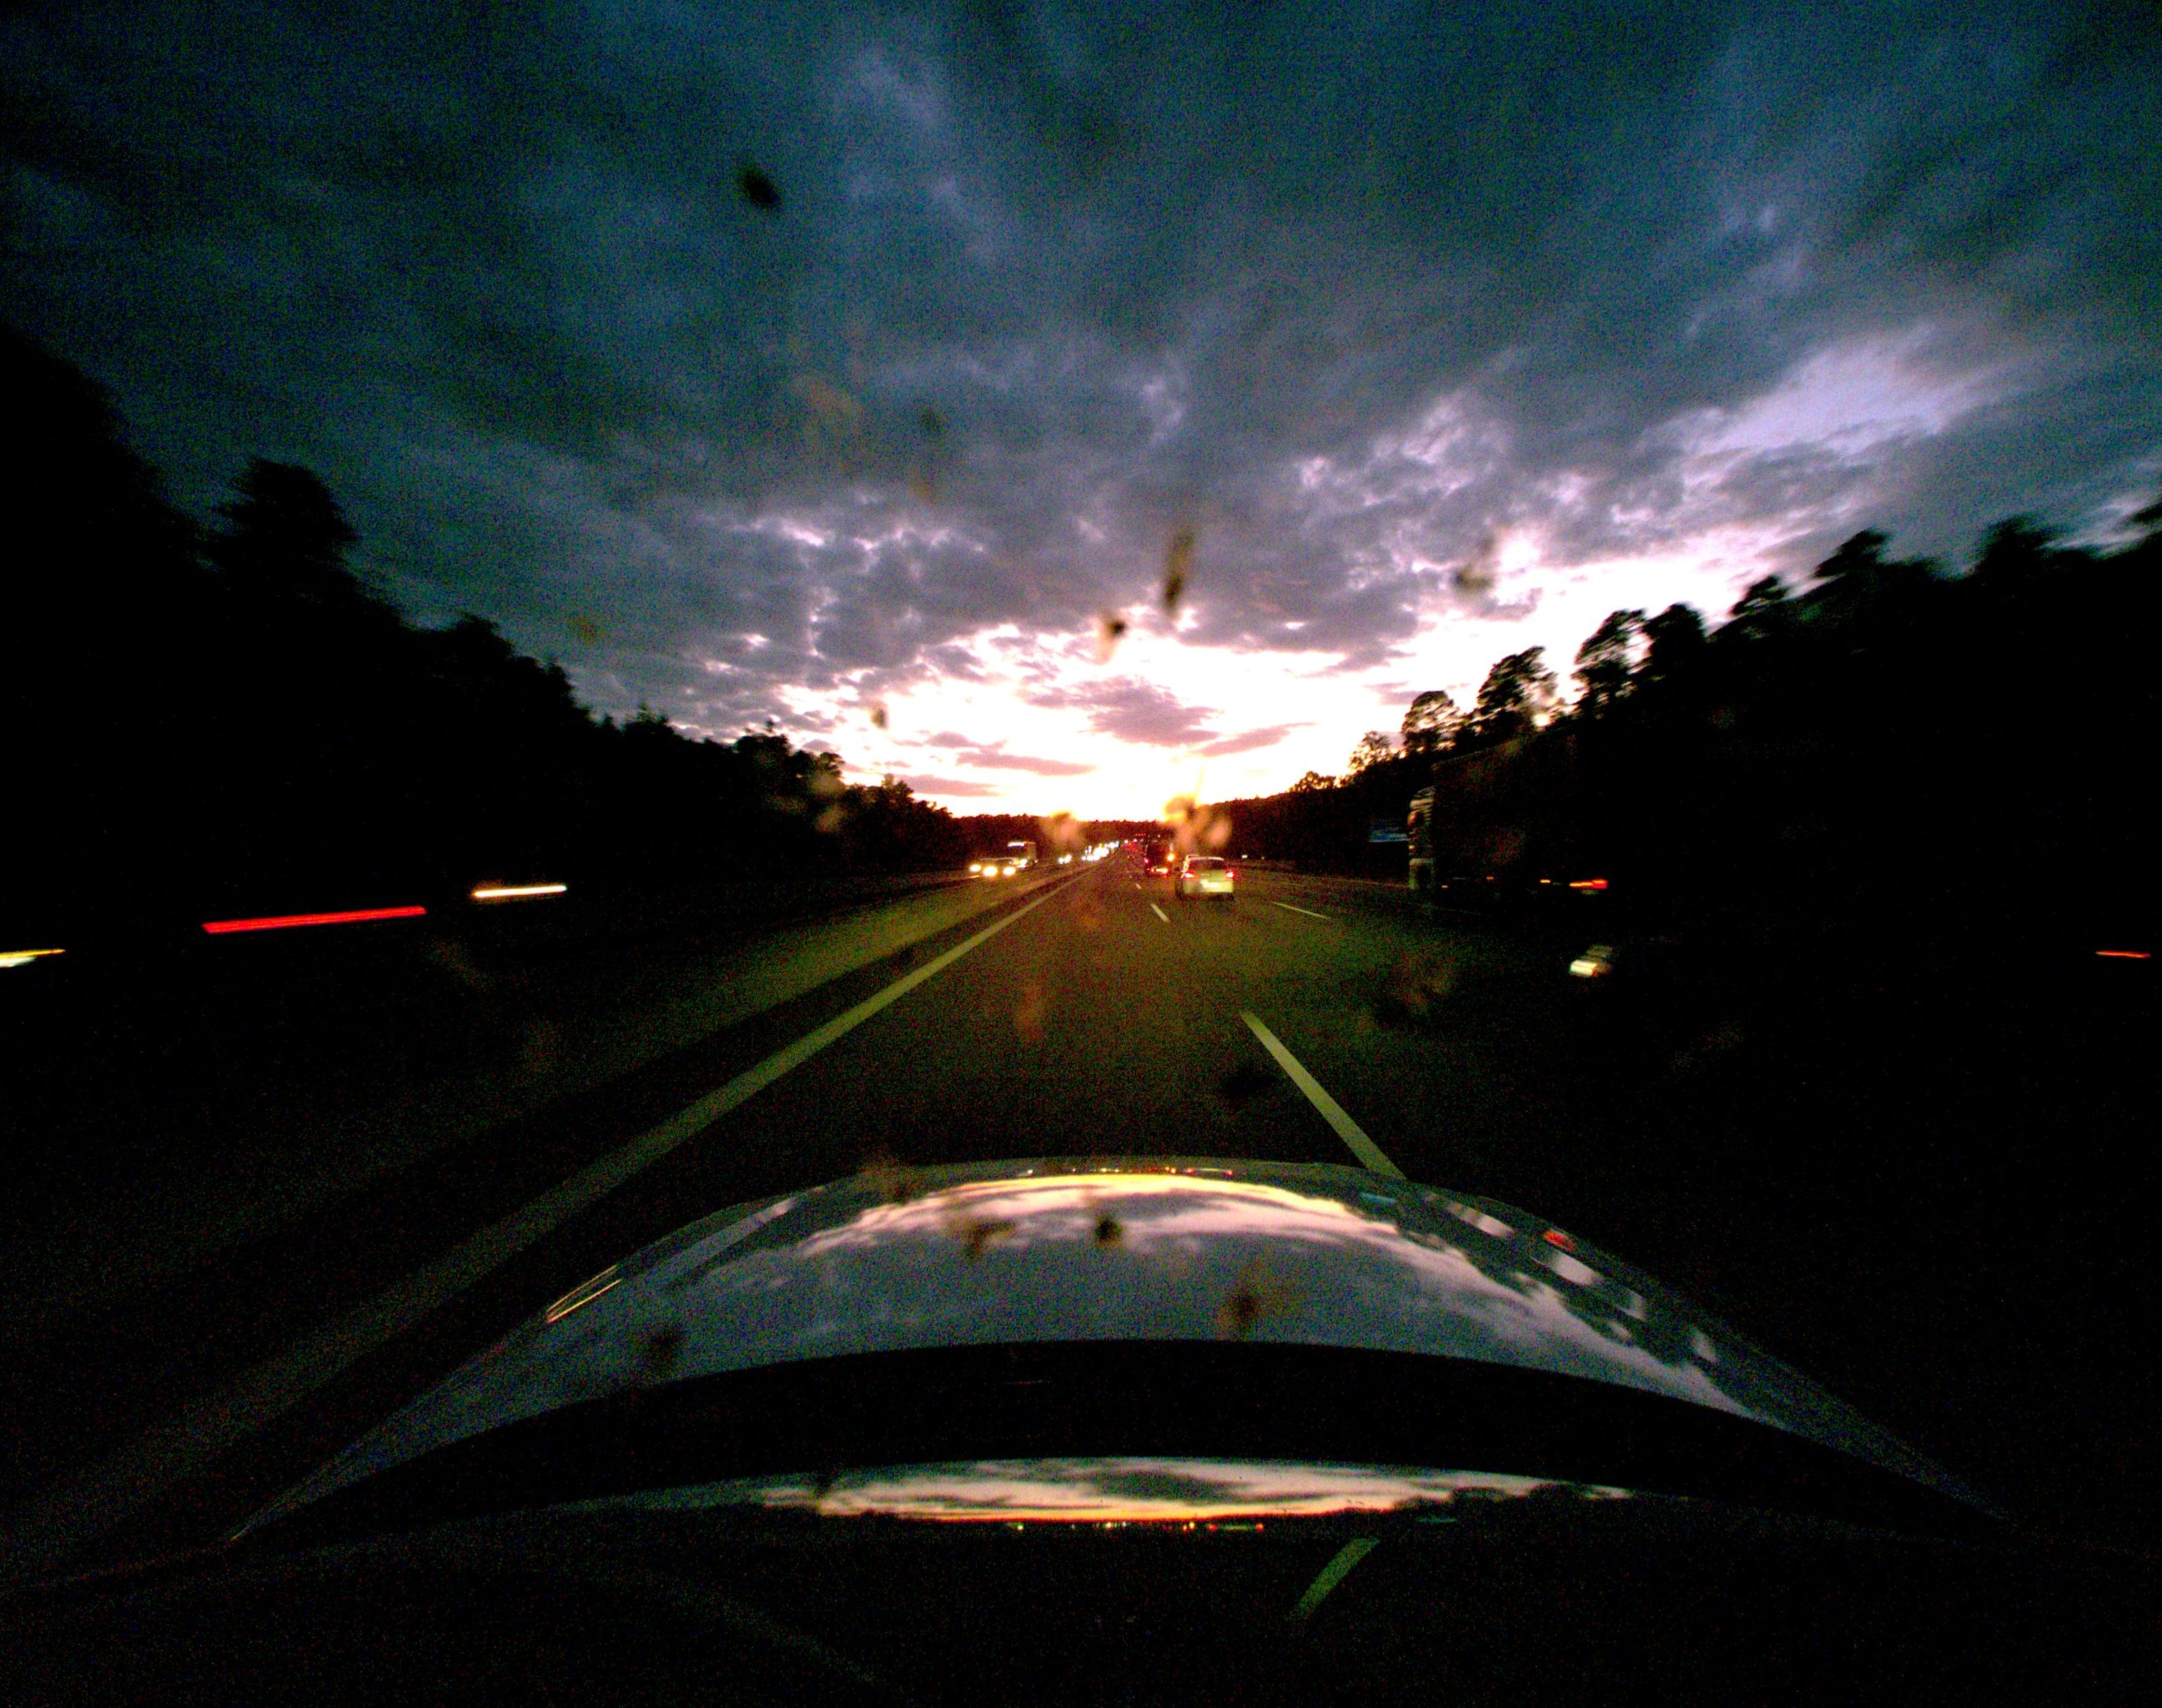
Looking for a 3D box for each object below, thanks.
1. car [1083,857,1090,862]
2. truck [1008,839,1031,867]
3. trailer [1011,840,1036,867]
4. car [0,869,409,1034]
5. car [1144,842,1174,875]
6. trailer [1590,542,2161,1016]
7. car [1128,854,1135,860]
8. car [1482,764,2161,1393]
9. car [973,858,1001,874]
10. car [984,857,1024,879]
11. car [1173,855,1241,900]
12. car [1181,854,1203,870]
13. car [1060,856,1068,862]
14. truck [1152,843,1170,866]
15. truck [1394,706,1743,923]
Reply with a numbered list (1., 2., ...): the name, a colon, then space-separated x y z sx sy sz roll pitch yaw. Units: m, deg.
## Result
1. car: 1.633 1.615 254.057 1.841 1.414 4.794 -1 0 3
2. truck: -9.367 -0.086 124.628 2.640 4.131 6.526 -1 0 1
3. trailer: -9.177 -0.068 131.515 2.640 4.131 14.331 -1 0 2
4. car: -10.620 0.935 8.960 1.747 1.429 5.368 0 0 4
5. car: 6.006 0.335 62.677 2.155 2.419 5.572 -1 0 5
6. trailer: 10.958 -0.659 10.297 2.895 4.100 10.364 -1 0 3
7. car: 14.141 0.899 228.738 1.828 1.570 4.006 -1 0 5
8. car: 3.804 0.617 3.392 1.896 1.643 5.053 1 -1 1
9. car: -8.419 1.038 73.162 1.769 1.401 4.941 -1 0 2
10. car: -5.070 0.920 54.228 1.986 1.401 4.690 -1 0 2
11. car: 4.272 0.769 28.171 1.852 1.442 3.721 -1 -1 1
12. car: 11.449 0.804 84.249 1.998 1.538 4.006 -1 0 5
13. car: -4.438 1.367 211.731 1.906 1.425 4.747 -1 0 1
14. truck: 21.791 0.216 222.041 4.131 5.856 14.309 -1 0 4
15. truck: 11.418 -0.743 21.023 2.873 4.100 10.838 -1 0 3
